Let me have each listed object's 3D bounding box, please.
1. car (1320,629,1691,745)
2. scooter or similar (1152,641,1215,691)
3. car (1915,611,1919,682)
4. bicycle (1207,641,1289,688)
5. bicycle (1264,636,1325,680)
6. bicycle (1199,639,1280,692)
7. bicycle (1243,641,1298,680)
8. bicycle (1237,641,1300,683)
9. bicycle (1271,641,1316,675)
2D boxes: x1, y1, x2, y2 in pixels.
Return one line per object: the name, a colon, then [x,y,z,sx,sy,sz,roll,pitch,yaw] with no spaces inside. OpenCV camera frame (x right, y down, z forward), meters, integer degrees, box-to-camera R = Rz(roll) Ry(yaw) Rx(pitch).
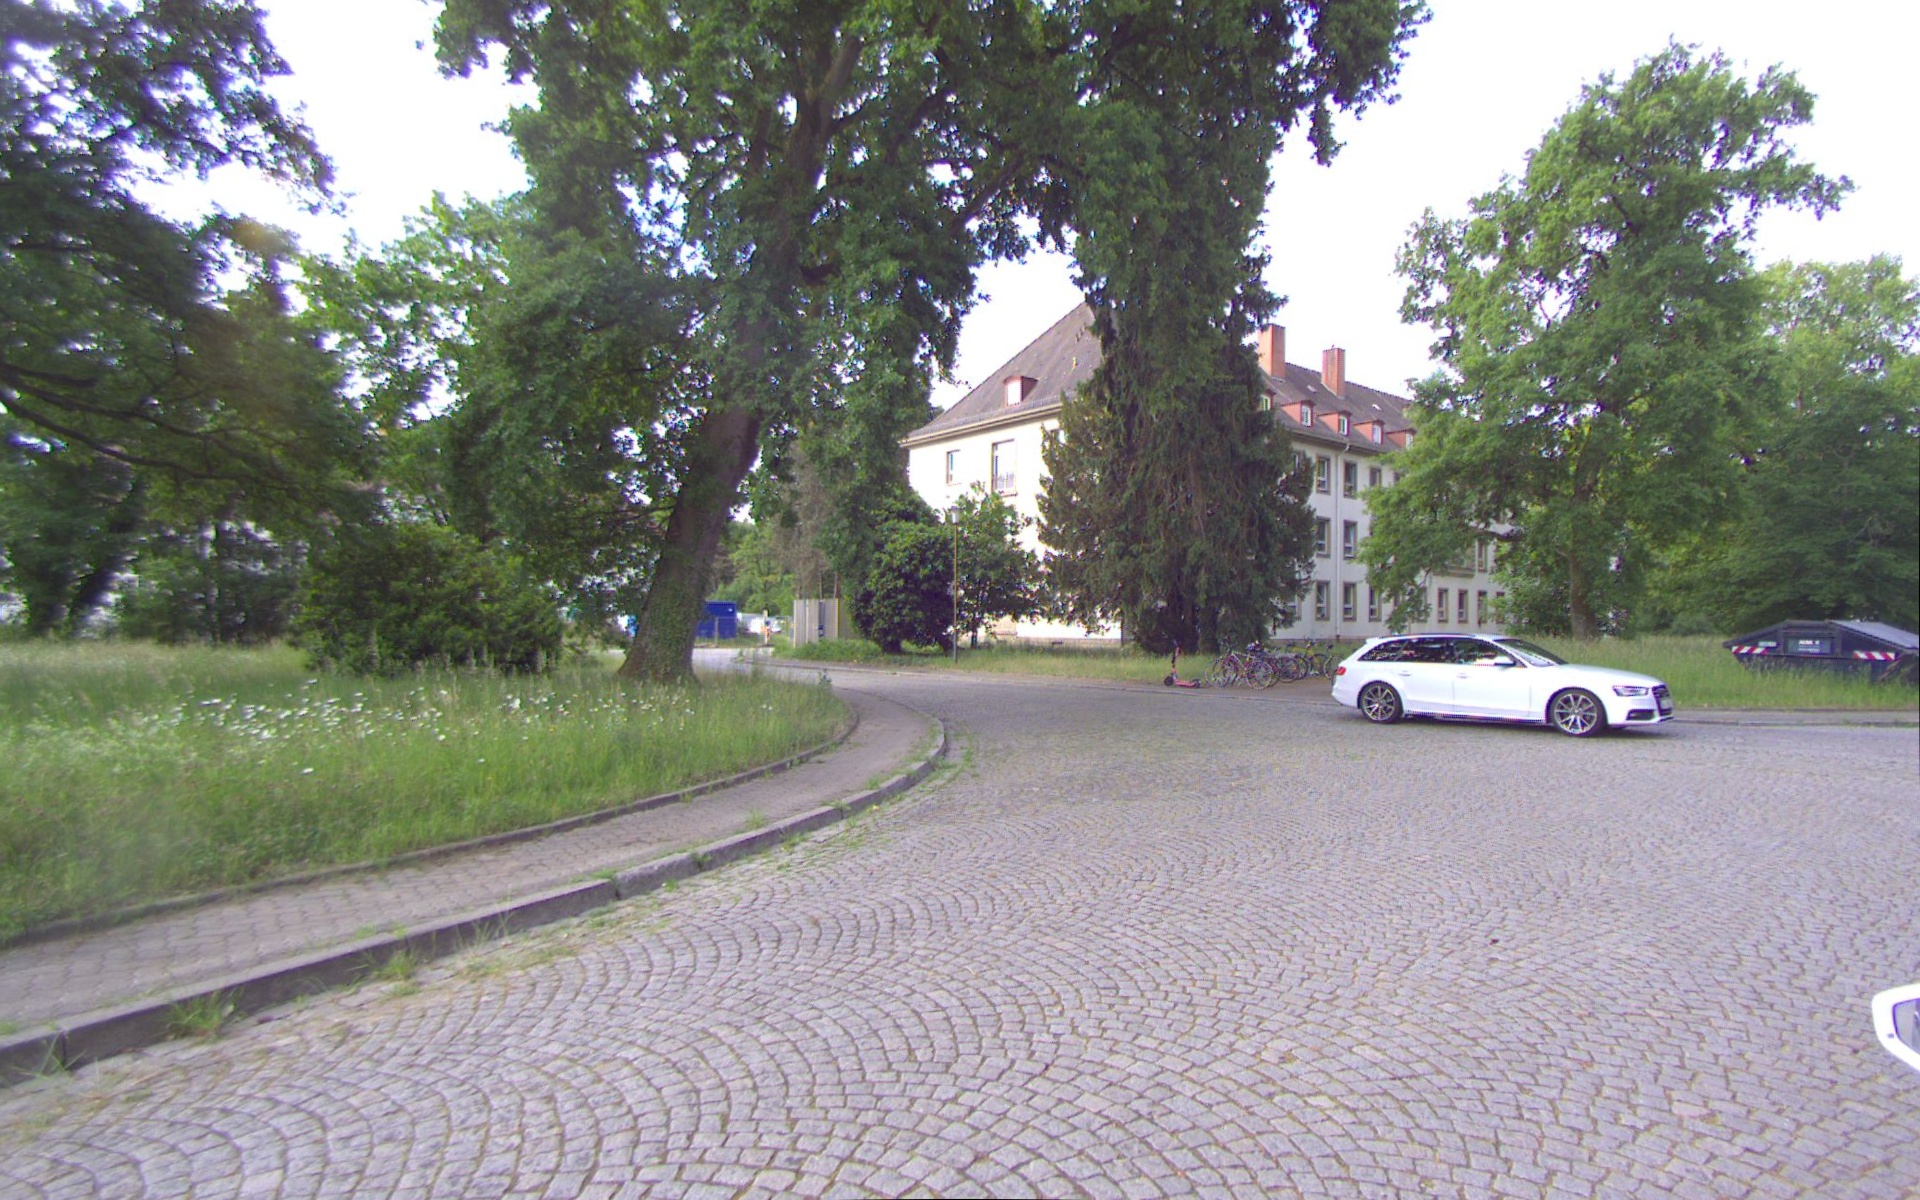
car: [8.113,1.190,15.356,1.839,1.456,4.653,1,-1,-39]
scooter or similar: [5.765,1.686,25.930,0.675,1.211,1.537,0,-1,-35]
car: [30.501,1.421,28.179,2.170,2.087,5.158,2,-1,-39]
bicycle: [7.461,1.648,26.059,1.957,1.129,0.642,0,1,33]
bicycle: [9.690,1.658,29.112,1.613,1.201,0.573,0,1,26]
bicycle: [7.083,1.635,25.498,1.869,1.239,0.642,0,1,33]
bicycle: [8.889,1.721,28.746,1.487,1.049,0.545,0,1,22]
bicycle: [8.411,1.677,27.377,1.598,1.088,0.539,0,1,22]
bicycle: [10.268,1.792,30.900,1.241,1.042,0.433,-2,-4,33]
